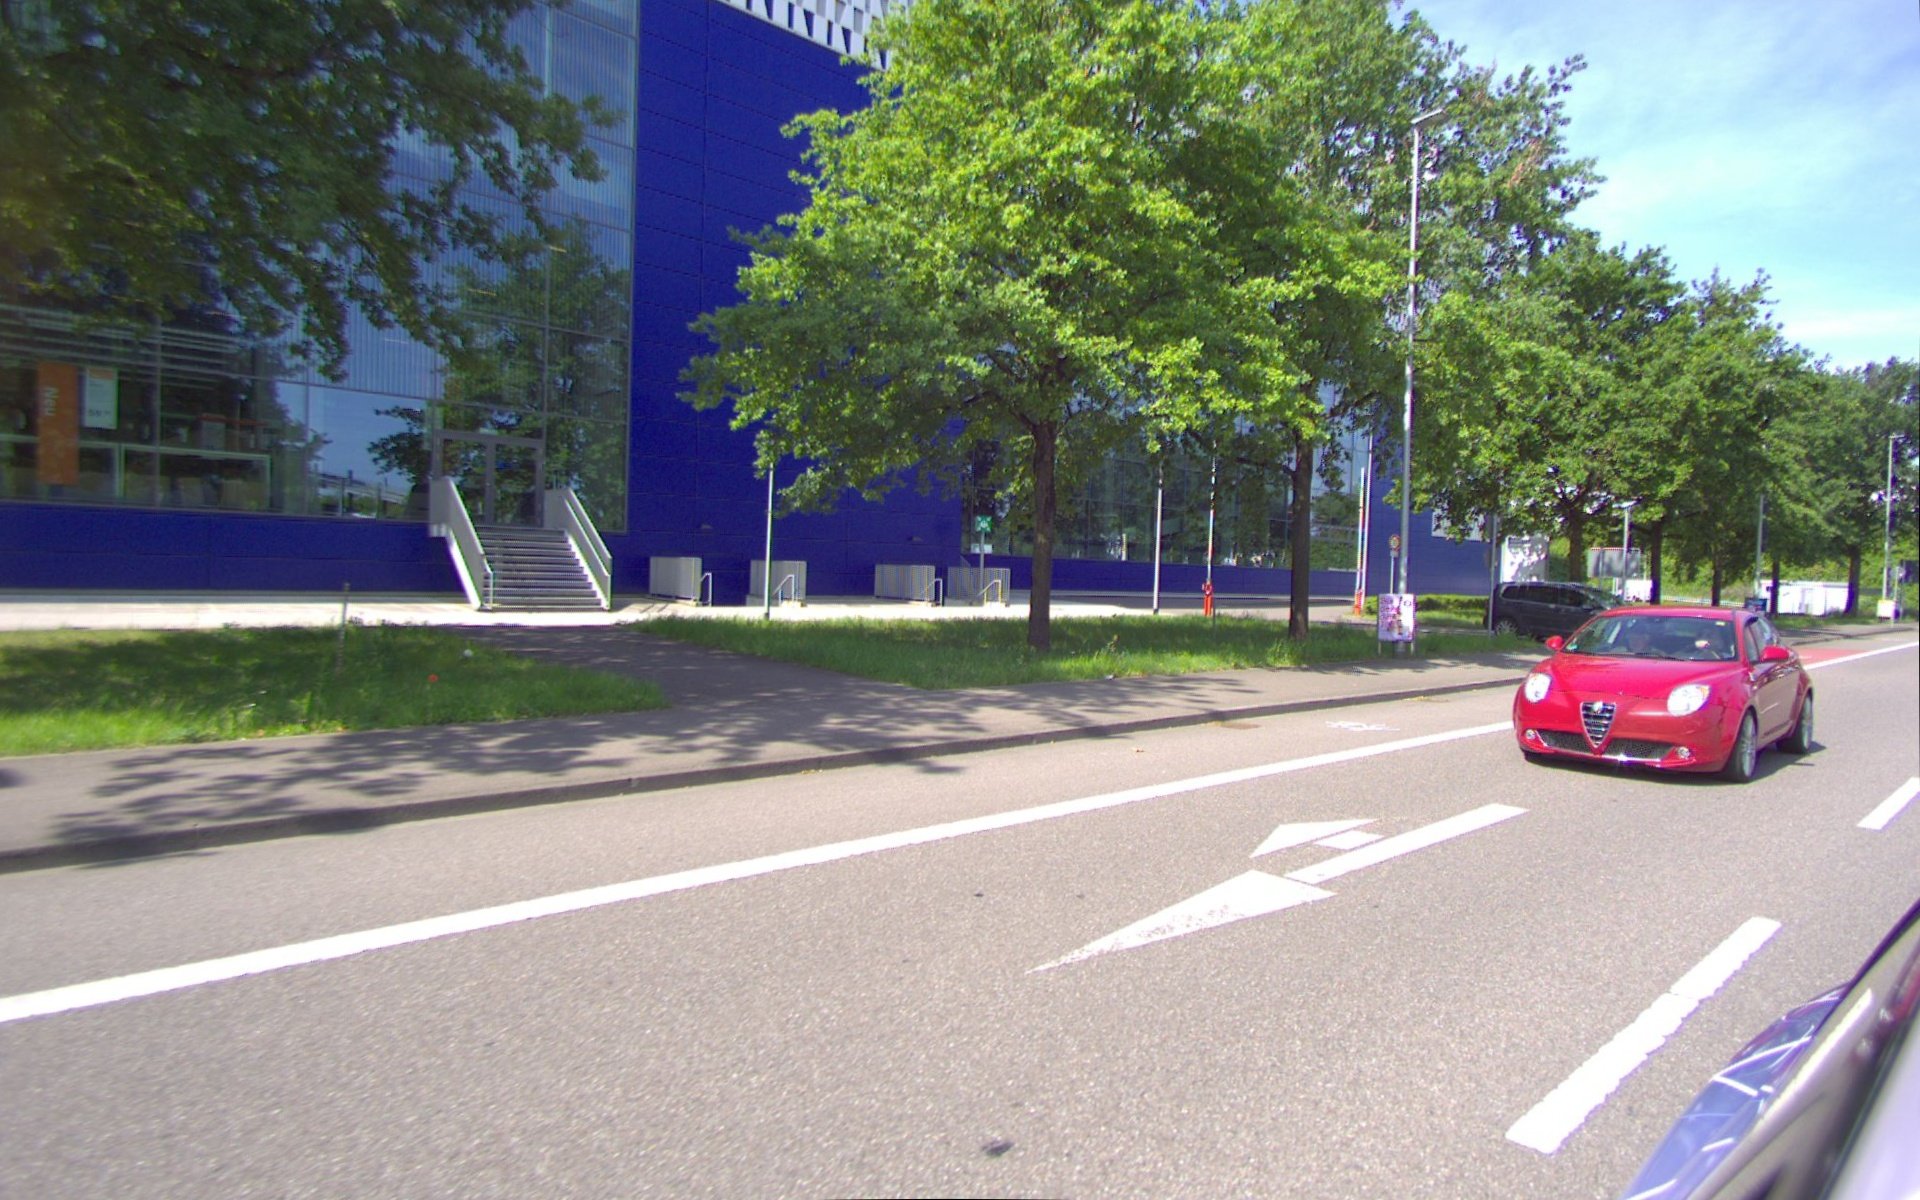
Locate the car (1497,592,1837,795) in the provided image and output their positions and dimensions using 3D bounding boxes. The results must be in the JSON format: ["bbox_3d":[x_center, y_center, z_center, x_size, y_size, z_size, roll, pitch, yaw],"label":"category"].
[{"bbox_3d":[6.785,0.682,9.563,3.911,1.472,1.796,-1,2,-42],"label":"car"}]

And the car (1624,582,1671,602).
[{"bbox_3d":[59.091,-0.681,87.065,1.829,1.660,4.287,1,1,13],"label":"car"}]

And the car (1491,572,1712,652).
[{"bbox_3d":[16.612,0.241,26.436,1.808,1.714,4.463,0,3,-33],"label":"car"}]
